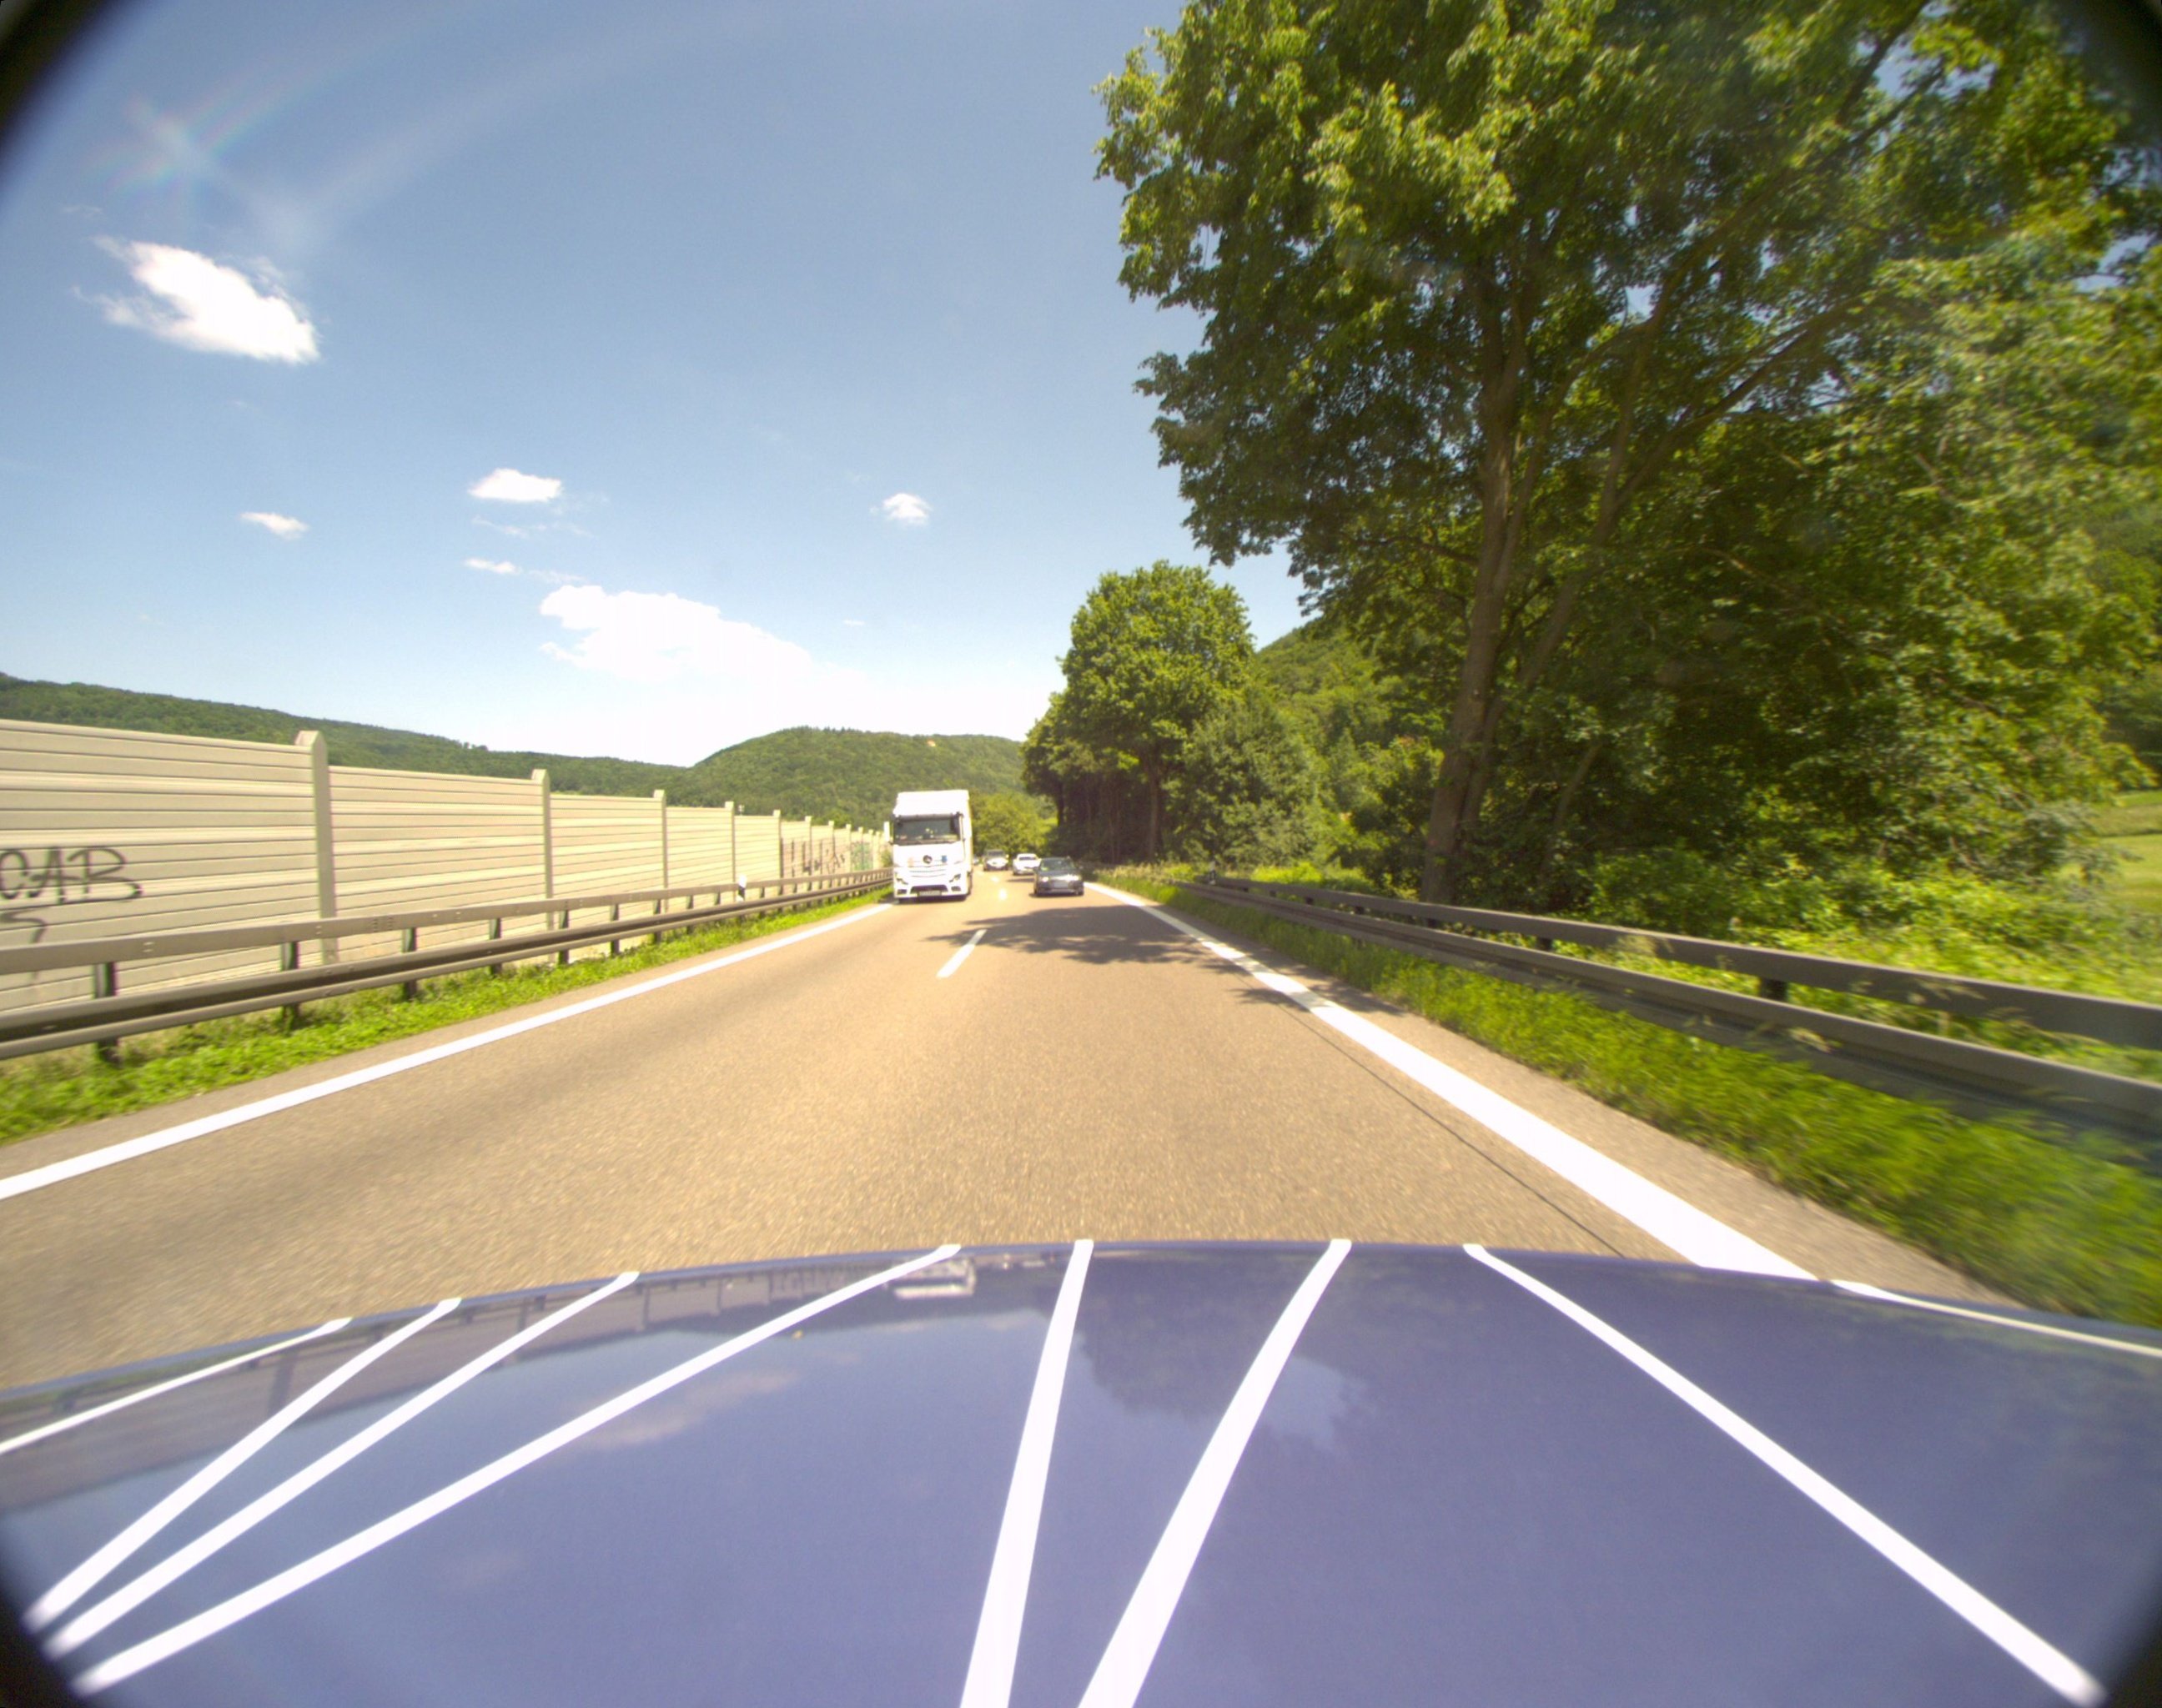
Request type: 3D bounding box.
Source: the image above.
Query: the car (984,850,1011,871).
[{"bbox_3d":[-7.634,0.568,69.069,2.046,1.855,3.996,-1,0,-12],"label":"car"}]

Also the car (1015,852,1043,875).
[{"bbox_3d":[-3.701,0.647,53.800,1.716,1.541,3.997,0,0,-7],"label":"car"}]

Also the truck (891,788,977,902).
[{"bbox_3d":[-6.281,-0.345,34.283,2.863,4.124,12.038,-3,1,-7],"label":"truck"}]

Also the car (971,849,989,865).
[{"bbox_3d":[-13.269,0.330,99.469,2.001,2.002,3.995,-1,0,-13],"label":"car"}]

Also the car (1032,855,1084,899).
[{"bbox_3d":[-0.918,0.799,28.095,1.663,1.435,3.473,-3,0,-5],"label":"car"}]

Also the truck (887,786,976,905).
[{"bbox_3d":[-5.581,-0.314,29.406,2.766,4.015,6.818,-2,0,-7],"label":"truck"}]
